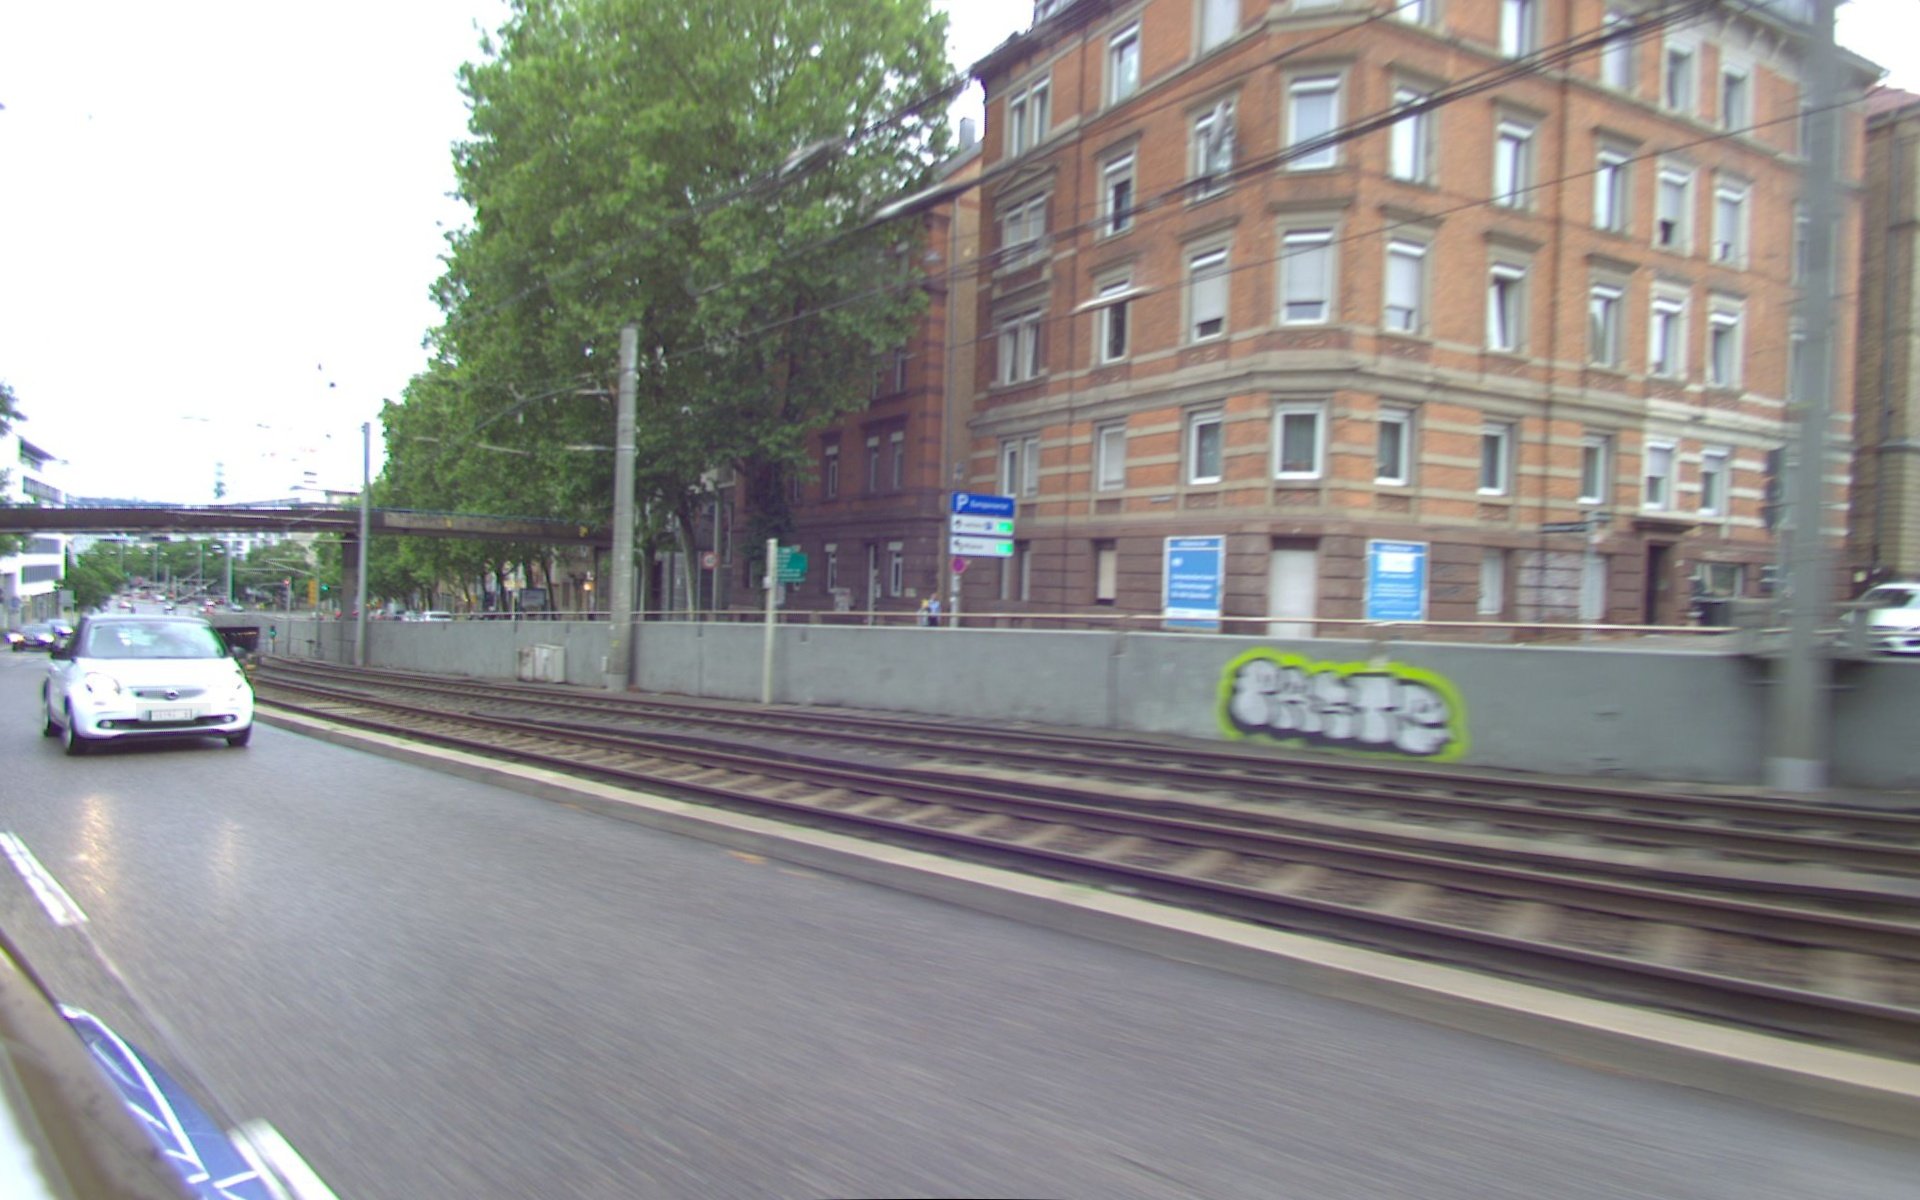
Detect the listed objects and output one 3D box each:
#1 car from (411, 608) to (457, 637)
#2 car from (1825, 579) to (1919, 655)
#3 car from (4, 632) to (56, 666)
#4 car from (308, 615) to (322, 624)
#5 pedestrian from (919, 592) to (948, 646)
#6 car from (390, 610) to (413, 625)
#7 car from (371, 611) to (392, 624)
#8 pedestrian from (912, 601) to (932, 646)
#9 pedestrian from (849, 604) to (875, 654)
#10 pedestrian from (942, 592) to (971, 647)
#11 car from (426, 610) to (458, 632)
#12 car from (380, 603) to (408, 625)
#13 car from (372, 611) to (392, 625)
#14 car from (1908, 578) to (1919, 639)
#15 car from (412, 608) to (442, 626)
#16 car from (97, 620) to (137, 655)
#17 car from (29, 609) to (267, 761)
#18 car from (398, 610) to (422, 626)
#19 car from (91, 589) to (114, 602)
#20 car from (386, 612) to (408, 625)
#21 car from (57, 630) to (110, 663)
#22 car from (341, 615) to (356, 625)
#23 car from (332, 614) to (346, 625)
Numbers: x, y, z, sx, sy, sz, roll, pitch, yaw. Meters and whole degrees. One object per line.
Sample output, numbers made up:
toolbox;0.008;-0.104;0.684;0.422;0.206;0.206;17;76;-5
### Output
car;-31.245;1.326;60.063;1.770;1.624;4.369;-1;-1;-36
car;21.800;0.339;22.952;4.284;1.513;1.912;-1;3;-29
car;-53.448;2.788;58.233;1.771;1.679;4.009;-1;1;-36
car;-110.334;3.334;173.175;1.771;1.522;4.009;-1;-1;-36
pedestrian;-0.817;0.598;31.084;0.585;1.637;0.725;3;-4;-28
car;-61.723;1.986;111.820;1.770;1.583;4.219;-1;-1;-34
car;-82.561;2.494;144.338;1.853;1.778;4.910;-1;-1;-38
pedestrian;-1.146;0.708;30.587;0.330;1.344;0.505;4;-5;-43
pedestrian;-3.297;0.977;34.028;0.585;1.637;0.725;3;-4;-28
pedestrian;-0.103;0.612;31.163;0.585;1.637;0.725;3;-4;-28
car;-41.715;1.696;81.442;1.770;1.624;4.370;-1;-1;-34
car;-71.011;1.758;126.839;2.419;2.682;6.949;-1;-1;-34
car;-77.499;2.443;135.682;1.852;1.778;4.913;-1;-1;-35
car;26.209;0.203;25.771;3.888;1.513;1.912;-2;3;-29
car;-49.825;1.580;94.504;1.901;1.613;5.212;-1;-1;-35
car;-55.311;2.430;66.455;1.771;2.048;4.009;-1;1;-36
car;-10.033;0.961;12.400;4.002;1.549;1.774;-2;-4;45
car;-55.743;1.801;102.485;1.770;1.522;4.219;-1;-1;-34
car;-103.624;-0.552;122.314;1.771;1.521;4.009;-1;1;-36
car;-66.578;2.182;119.637;1.770;1.522;4.684;-1;-1;-34
car;-46.141;2.418;53.325;1.771;1.521;4.009;-1;1;-36
car;-91.542;2.985;151.442;1.770;1.522;4.118;-1;-1;-34
car;-107.373;3.316;174.964;1.930;1.866;4.981;-1;-1;-34
